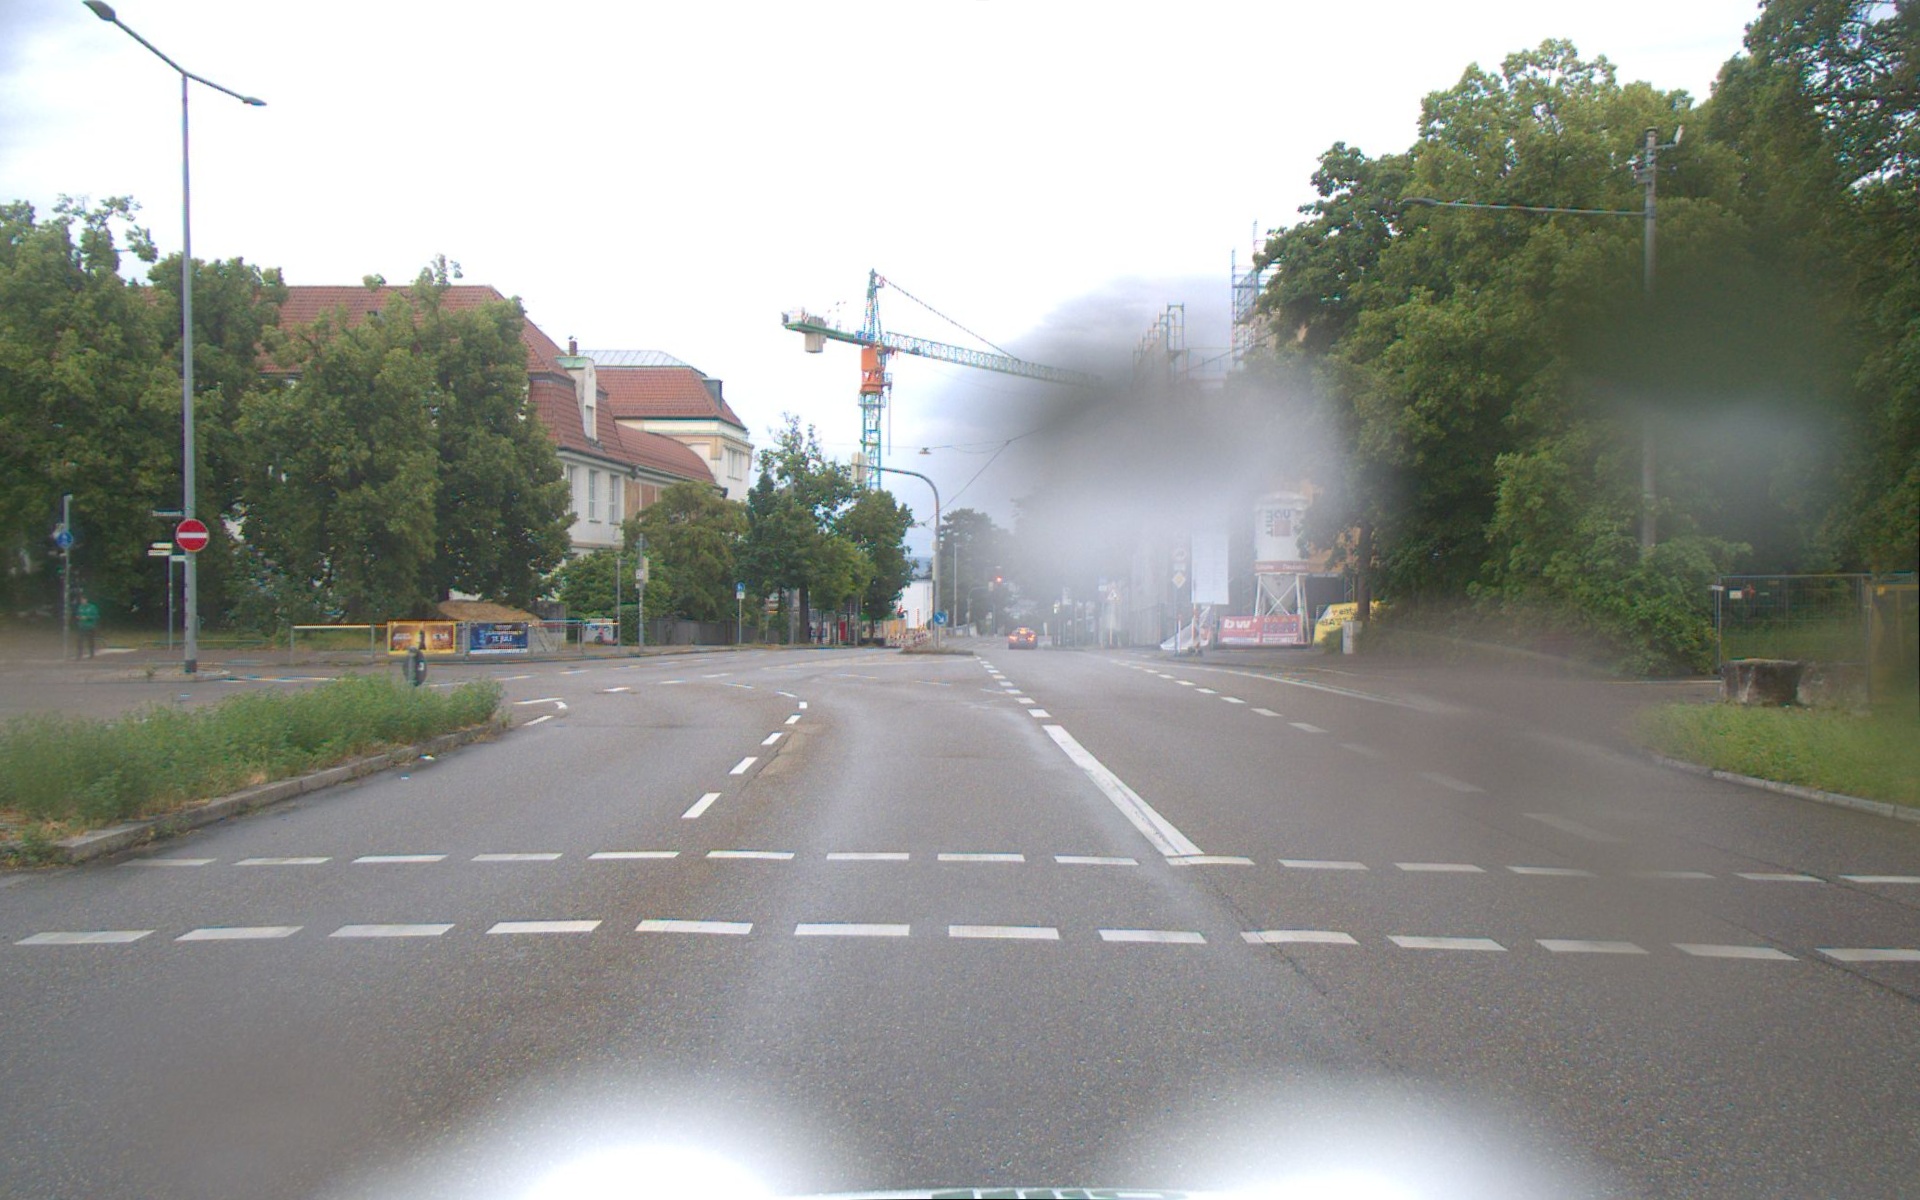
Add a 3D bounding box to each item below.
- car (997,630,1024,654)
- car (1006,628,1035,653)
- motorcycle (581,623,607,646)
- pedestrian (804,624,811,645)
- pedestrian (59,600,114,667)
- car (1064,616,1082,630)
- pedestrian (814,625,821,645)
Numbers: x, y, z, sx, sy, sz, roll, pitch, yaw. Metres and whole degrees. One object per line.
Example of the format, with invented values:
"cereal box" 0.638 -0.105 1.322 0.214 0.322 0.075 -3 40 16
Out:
"car" 4.028 3.311 131.763 1.953 1.780 3.999 -1 0 -1
"car" 4.560 3.058 124.809 1.953 1.780 3.999 -1 0 -1
"motorcycle" -14.317 1.344 64.678 0.832 0.893 0.877 1 0 -1
"pedestrian" -10.603 2.401 115.244 0.465 1.421 0.411 0 0 -1
"pedestrian" -23.159 0.884 43.874 0.903 1.757 0.946 1 0 3
"car" 14.983 3.103 219.513 1.951 1.780 4.003 -1 0 10
"pedestrian" -9.939 2.449 115.276 0.465 1.421 0.411 0 0 -1
